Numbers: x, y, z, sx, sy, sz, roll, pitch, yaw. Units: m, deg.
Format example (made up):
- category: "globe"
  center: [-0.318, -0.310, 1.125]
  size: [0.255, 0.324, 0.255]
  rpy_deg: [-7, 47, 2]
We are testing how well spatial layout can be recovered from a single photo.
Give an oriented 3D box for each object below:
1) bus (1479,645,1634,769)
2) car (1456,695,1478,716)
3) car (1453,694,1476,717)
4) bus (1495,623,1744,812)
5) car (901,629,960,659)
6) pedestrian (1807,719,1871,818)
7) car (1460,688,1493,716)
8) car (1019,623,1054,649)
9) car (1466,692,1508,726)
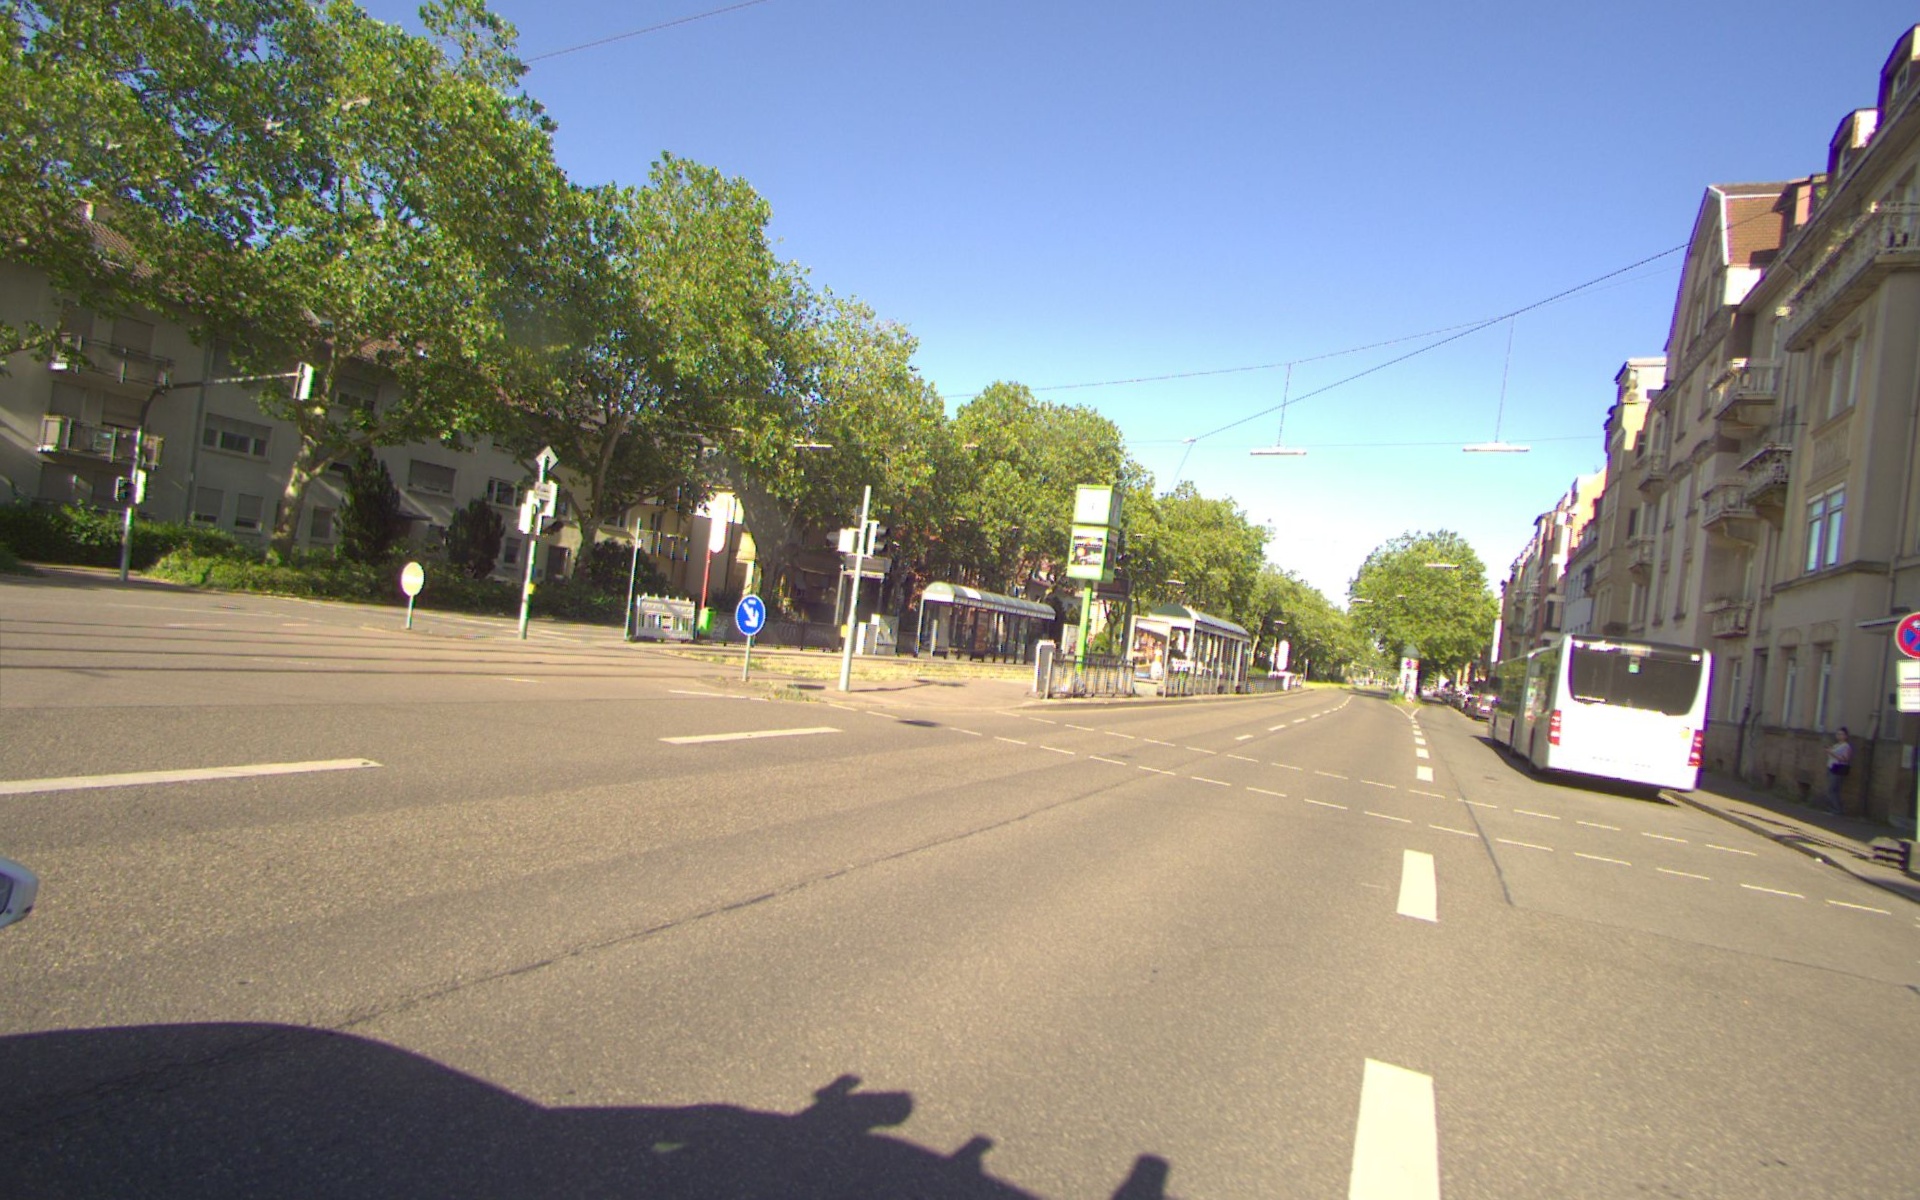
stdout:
- category: "bus"
  center: [19.456, 3.454, 33.553]
  size: [3.040, 3.052, 10.863]
  rpy_deg: [8, -1, 25]
- category: "car"
  center: [45.497, 9.425, 90.371]
  size: [1.534, 1.625, 3.574]
  rpy_deg: [8, -1, 26]
- category: "car"
  center: [42.845, 8.945, 85.427]
  size: [1.534, 1.625, 3.574]
  rpy_deg: [8, -1, 26]
- category: "bus"
  center: [14.911, 2.583, 23.790]
  size: [3.077, 3.069, 10.681]
  rpy_deg: [8, -1, 25]
- category: "car"
  center: [-1.971, 2.965, 67.492]
  size: [1.802, 1.424, 3.879]
  rpy_deg: [7, -4, 37]
- category: "pedestrian"
  center: [17.446, 3.328, 19.974]
  size: [0.696, 1.825, 0.521]
  rpy_deg: [7, 0, 29]
- category: "car"
  center: [39.153, 7.730, 76.352]
  size: [1.768, 1.811, 4.000]
  rpy_deg: [8, -1, 23]
- category: "car"
  center: [7.698, 3.665, 100.677]
  size: [1.964, 2.035, 4.003]
  rpy_deg: [7, -3, 25]
- category: "car"
  center: [35.814, 7.375, 68.505]
  size: [1.994, 1.917, 4.000]
  rpy_deg: [8, -1, 23]
